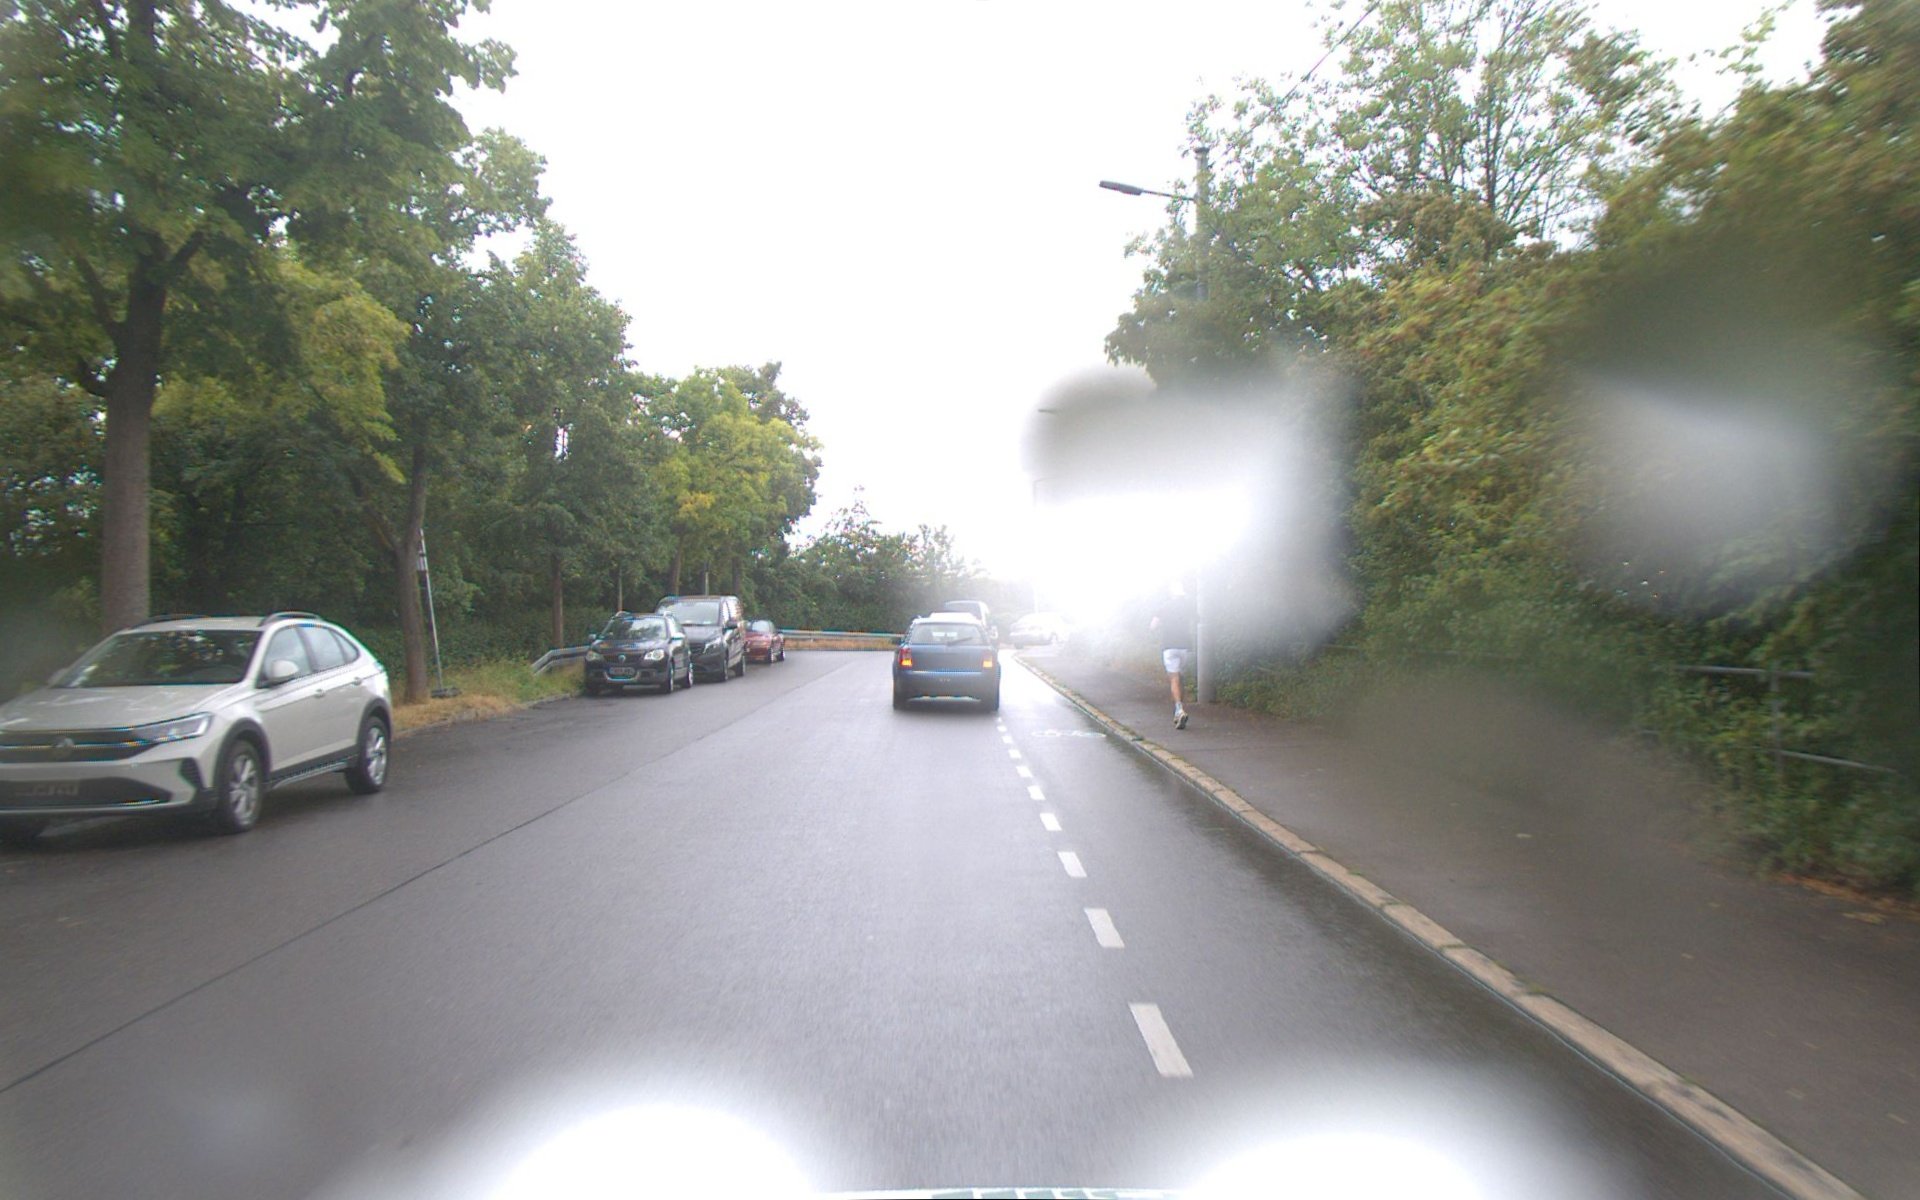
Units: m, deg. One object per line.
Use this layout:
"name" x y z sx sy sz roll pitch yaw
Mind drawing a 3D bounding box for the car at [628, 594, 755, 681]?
"car" -6.147 0.858 38.488 2.041 1.851 5.380 -1 -1 0

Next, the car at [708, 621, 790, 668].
"car" -6.217 1.299 49.179 1.752 1.320 4.326 -1 -1 2

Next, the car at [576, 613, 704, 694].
"car" -6.214 1.020 32.511 1.761 1.463 4.254 -1 -1 -2

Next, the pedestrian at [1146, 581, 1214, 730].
"pedestrian" 2.861 0.710 21.566 0.702 1.867 1.021 -2 -1 1

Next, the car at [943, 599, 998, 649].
"car" 0.334 0.832 57.736 1.785 1.645 3.784 -1 -1 -1

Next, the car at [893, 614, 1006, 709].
"car" -0.205 0.967 27.282 1.712 1.432 3.999 -1 -1 -1

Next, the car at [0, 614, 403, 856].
"car" -5.728 0.867 12.245 1.654 1.463 4.256 -1 -1 1

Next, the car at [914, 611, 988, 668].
"car" -0.211 1.020 43.405 1.852 1.413 4.000 -1 -1 0

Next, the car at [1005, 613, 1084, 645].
"car" 3.474 1.164 67.455 1.787 1.223 3.780 -2 -1 28
